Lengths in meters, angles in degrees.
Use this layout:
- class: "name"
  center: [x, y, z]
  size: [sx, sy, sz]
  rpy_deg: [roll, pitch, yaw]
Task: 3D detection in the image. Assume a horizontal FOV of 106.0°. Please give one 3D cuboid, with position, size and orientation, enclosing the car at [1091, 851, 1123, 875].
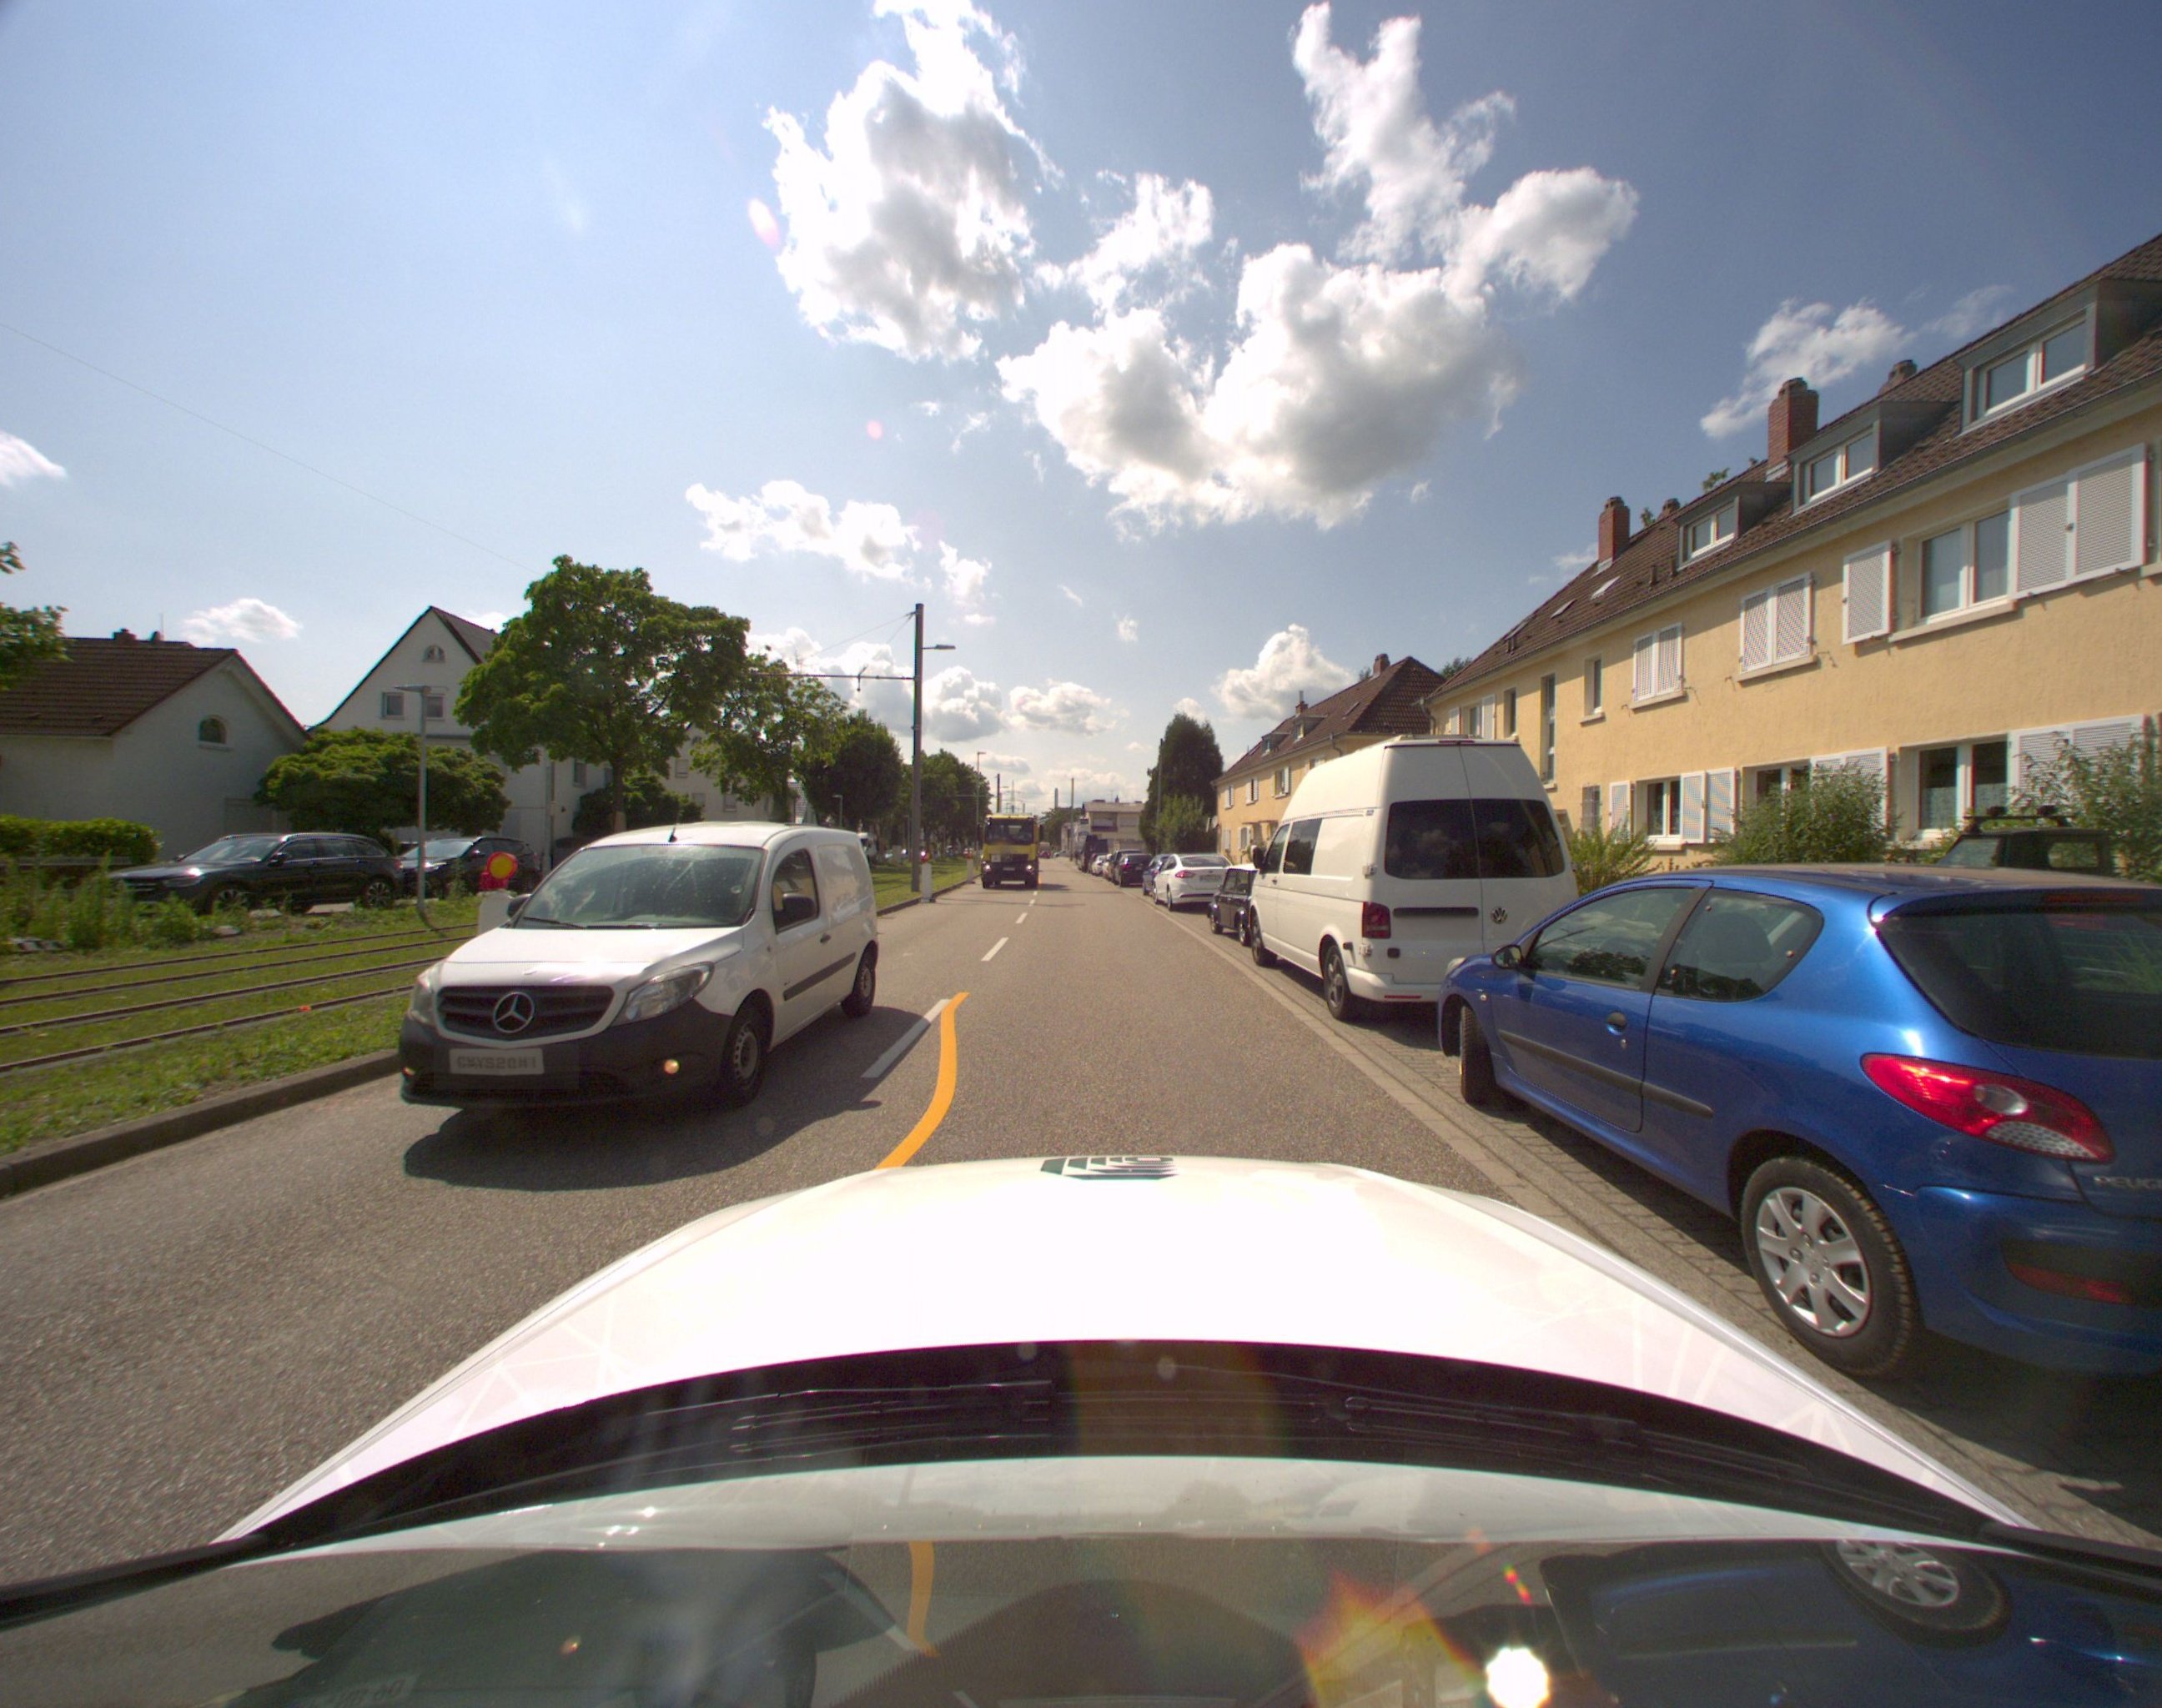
- class: "car"
  center: [1.629, 0.543, 52.464]
  size: [1.760, 1.439, 3.996]
  rpy_deg: [-1, 0, -3]

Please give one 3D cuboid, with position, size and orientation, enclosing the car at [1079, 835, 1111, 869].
- class: "car"
  center: [1.052, -0.202, 63.716]
  size: [1.955, 2.478, 6.052]
  rpy_deg: [-1, 0, -4]

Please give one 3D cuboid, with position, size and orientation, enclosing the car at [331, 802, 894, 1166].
- class: "car"
  center: [-2.786, 0.621, 6.143]
  size: [1.729, 1.773, 4.308]
  rpy_deg: [1, 0, 0]

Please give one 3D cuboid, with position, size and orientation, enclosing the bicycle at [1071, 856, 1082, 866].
- class: "bicycle"
  center: [-0.501, 0.769, 92.381]
  size: [0.993, 1.049, 2.807]
  rpy_deg: [0, 0, -6]

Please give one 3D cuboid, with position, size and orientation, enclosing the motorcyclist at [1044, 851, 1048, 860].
- class: "motorcyclist"
  center: [-6.508, 0.275, 151.344]
  size: [0.882, 1.667, 1.108]
  rpy_deg: [0, 0, -4]

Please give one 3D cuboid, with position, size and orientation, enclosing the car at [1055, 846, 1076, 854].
- class: "car"
  center: [-3.707, -0.941, 194.175]
  size: [4.639, 1.823, 1.831]
  rpy_deg: [0, 0, -8]

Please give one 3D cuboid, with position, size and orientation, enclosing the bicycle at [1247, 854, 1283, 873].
- class: "bicycle"
  center: [9.702, 0.490, 42.957]
  size: [1.858, 0.956, 0.366]
  rpy_deg: [0, 0, -8]

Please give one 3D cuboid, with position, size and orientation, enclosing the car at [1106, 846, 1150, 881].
- class: "car"
  center: [2.335, 0.458, 41.352]
  size: [1.760, 1.643, 3.996]
  rpy_deg: [-1, 0, -3]

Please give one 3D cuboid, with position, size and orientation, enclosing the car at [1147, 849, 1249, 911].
- class: "car"
  center: [3.014, 0.638, 22.017]
  size: [1.795, 1.458, 4.759]
  rpy_deg: [-2, 0, -3]

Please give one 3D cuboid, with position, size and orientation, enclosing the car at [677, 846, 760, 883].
- class: "car"
  center: [-16.169, 0.419, 36.572]
  size: [1.724, 1.505, 4.565]
  rpy_deg: [-1, 0, -2]

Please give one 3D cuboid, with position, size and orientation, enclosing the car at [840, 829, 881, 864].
- class: "car"
  center: [-17.851, -0.603, 66.274]
  size: [2.071, 2.721, 6.986]
  rpy_deg: [-1, 0, -7]

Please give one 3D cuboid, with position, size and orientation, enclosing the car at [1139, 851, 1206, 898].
- class: "car"
  center: [2.986, 0.633, 27.272]
  size: [1.617, 1.417, 3.996]
  rpy_deg: [-1, 0, -3]

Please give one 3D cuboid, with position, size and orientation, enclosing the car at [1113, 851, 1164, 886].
- class: "car"
  center: [2.489, 0.594, 36.167]
  size: [1.760, 1.417, 3.996]
  rpy_deg: [-1, 0, -3]

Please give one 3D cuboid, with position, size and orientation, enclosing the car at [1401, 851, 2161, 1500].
- class: "car"
  center: [2.898, 0.724, 3.698]
  size: [1.530, 1.445, 3.739]
  rpy_deg: [1, 0, 2]

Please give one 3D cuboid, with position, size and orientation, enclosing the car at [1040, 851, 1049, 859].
- class: "car"
  center: [-6.967, 0.266, 156.529]
  size: [1.565, 1.498, 4.142]
  rpy_deg: [0, 0, -5]

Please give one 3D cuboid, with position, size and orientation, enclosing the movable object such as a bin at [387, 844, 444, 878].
- class: "movable object such as a bin"
  center: [-26.526, 0.276, 32.483]
  size: [1.355, 1.329, 1.088]
  rpy_deg: [0, 0, -1]

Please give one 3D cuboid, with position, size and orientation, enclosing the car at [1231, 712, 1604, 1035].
- class: "car"
  center: [3.117, 0.133, 9.062]
  size: [1.922, 2.480, 5.518]
  rpy_deg: [-1, 0, 1]

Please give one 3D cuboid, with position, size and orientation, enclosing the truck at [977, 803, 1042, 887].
- class: "truck"
  center: [-3.164, -0.406, 37.503]
  size: [2.553, 3.459, 7.144]
  rpy_deg: [-1, 0, -2]

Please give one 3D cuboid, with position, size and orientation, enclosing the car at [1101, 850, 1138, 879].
- class: "car"
  center: [2.140, 0.557, 46.183]
  size: [1.760, 1.476, 3.996]
  rpy_deg: [-1, 0, -3]

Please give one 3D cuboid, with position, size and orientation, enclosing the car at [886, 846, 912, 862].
- class: "car"
  center: [-18.406, 0.022, 82.601]
  size: [1.874, 1.553, 4.373]
  rpy_deg: [0, 0, -3]

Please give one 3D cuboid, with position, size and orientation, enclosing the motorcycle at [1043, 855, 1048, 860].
- class: "motorcycle"
  center: [-6.524, 0.636, 151.591]
  size: [0.882, 0.924, 2.612]
  rpy_deg: [0, 0, -4]

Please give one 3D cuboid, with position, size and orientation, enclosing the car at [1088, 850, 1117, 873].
- class: "car"
  center: [1.460, 0.491, 57.638]
  size: [1.760, 1.502, 3.996]
  rpy_deg: [-1, 0, -3]

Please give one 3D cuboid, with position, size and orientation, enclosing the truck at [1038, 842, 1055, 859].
- class: "truck"
  center: [-7.495, -0.705, 173.753]
  size: [3.215, 3.402, 11.335]
  rpy_deg: [0, 0, -5]

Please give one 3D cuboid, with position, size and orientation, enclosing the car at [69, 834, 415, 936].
- class: "car"
  center: [-15.328, 0.476, 15.351]
  size: [1.806, 1.586, 4.565]
  rpy_deg: [-1, 0, -2]

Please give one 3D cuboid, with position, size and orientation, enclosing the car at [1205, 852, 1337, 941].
- class: "car"
  center: [3.130, 0.654, 13.953]
  size: [1.338, 1.340, 3.284]
  rpy_deg: [1, 0, -3]

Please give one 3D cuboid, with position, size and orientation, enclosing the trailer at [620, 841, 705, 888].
- class: "trailer"
  center: [-15.740, 0.371, 30.812]
  size: [1.561, 1.677, 3.369]
  rpy_deg: [0, 0, -3]

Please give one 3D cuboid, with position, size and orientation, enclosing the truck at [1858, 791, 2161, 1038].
- class: "truck"
  center: [8.071, 0.415, 6.565]
  size: [1.341, 1.688, 2.442]
  rpy_deg: [0, 0, 1]

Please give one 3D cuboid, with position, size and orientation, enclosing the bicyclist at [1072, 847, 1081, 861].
- class: "bicyclist"
  center: [-0.504, 0.048, 92.401]
  size: [0.993, 1.569, 1.137]
  rpy_deg: [0, 0, -6]

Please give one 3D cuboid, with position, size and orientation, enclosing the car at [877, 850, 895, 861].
- class: "car"
  center: [-28.593, 0.175, 119.644]
  size: [1.874, 1.553, 4.392]
  rpy_deg: [0, 0, -3]

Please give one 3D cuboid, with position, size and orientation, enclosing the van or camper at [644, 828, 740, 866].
- class: "van or camper"
  center: [-32.575, -0.591, 68.373]
  size: [6.867, 3.126, 2.440]
  rpy_deg: [0, 0, -4]

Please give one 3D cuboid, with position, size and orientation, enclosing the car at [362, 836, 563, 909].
- class: "car"
  center: [-15.671, 0.404, 21.007]
  size: [1.690, 1.637, 4.566]
  rpy_deg: [-1, 0, -1]
